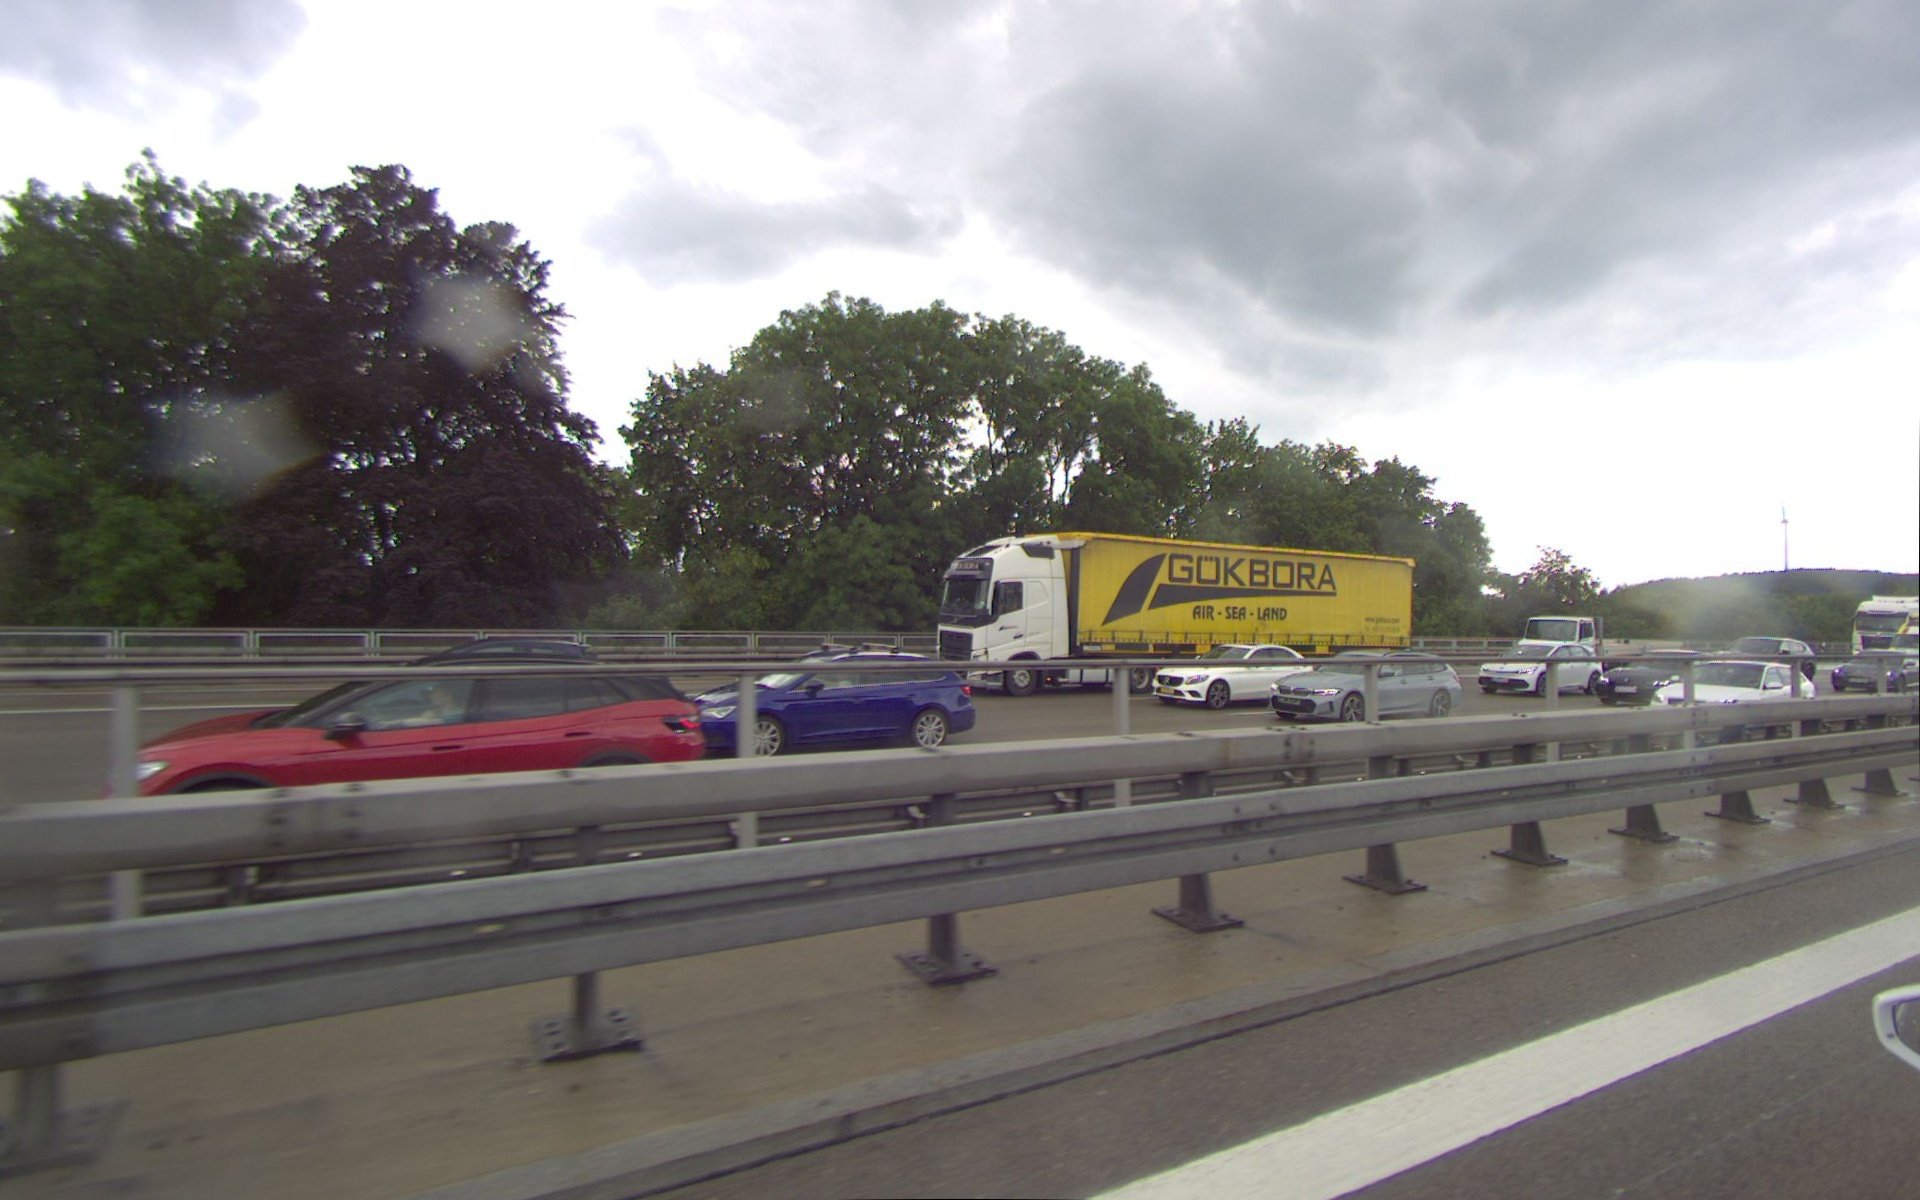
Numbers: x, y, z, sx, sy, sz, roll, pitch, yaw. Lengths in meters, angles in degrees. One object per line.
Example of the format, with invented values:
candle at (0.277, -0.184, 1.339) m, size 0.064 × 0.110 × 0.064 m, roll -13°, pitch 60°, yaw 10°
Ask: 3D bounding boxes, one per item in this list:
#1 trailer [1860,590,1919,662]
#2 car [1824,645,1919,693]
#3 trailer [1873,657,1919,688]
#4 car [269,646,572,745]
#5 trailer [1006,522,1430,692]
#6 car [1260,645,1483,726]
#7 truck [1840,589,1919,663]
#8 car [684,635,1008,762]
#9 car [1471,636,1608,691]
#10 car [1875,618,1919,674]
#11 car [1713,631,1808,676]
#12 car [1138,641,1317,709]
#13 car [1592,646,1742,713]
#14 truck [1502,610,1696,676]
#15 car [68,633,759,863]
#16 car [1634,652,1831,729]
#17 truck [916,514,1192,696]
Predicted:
trailer at (58.247, 1.609, 60.101) m, size 12.157 × 4.046 × 2.746 m, roll 1°, pitch -2°, yaw -29°
car at (32.750, 2.406, 35.752) m, size 4.637 × 1.597 × 1.738 m, roll 1°, pitch -2°, yaw -32°
trailer at (36.121, 2.709, 37.817) m, size 3.302 × 1.051 × 1.717 m, roll 1°, pitch -2°, yaw -30°
car at (-8.237, 1.392, 15.531) m, size 3.957 × 1.318 × 1.439 m, roll 1°, pitch -2°, yaw -33°
trailer at (8.263, 0.363, 30.320) m, size 14.340 × 4.284 × 3.232 m, roll 1°, pitch -2°, yaw -31°
car at (8.824, 1.731, 21.368) m, size 5.164 × 1.499 × 1.798 m, roll 1°, pitch -2°, yaw -33°
truck at (53.607, 1.513, 57.528) m, size 6.496 × 4.046 × 2.747 m, roll 1°, pitch -2°, yaw -29°
car at (-1.623, 1.363, 15.062) m, size 4.528 × 1.633 × 1.769 m, roll 1°, pitch -2°, yaw -33°
car at (17.411, 1.858, 30.133) m, size 4.369 × 1.498 × 1.738 m, roll 1°, pitch -2°, yaw -32°
car at (45.825, 2.138, 47.317) m, size 6.693 × 2.537 × 2.146 m, roll 1°, pitch -2°, yaw -30°
car at (30.425, 2.015, 38.158) m, size 3.953 × 1.617 × 1.526 m, roll 2°, pitch -2°, yaw -30°
car at (6.376, 1.724, 23.899) m, size 4.002 × 1.457 × 1.815 m, roll 1°, pitch -2°, yaw -28°
car at (18.893, 2.056, 26.798) m, size 4.369 × 1.597 × 1.738 m, roll 1°, pitch -2°, yaw -32°
truck at (25.556, 1.677, 40.015) m, size 9.166 × 2.403 × 2.668 m, roll 1°, pitch -2°, yaw -31°
car at (-4.380, 1.047, 8.771) m, size 4.789 × 1.482 × 1.983 m, roll 1°, pitch -2°, yaw -33°
car at (16.322, 1.827, 21.160) m, size 4.767 × 1.401 × 1.753 m, roll 1°, pitch -2°, yaw -32°
truck at (2.579, 0.216, 26.967) m, size 6.801 × 4.306 × 3.232 m, roll 1°, pitch -2°, yaw -30°
